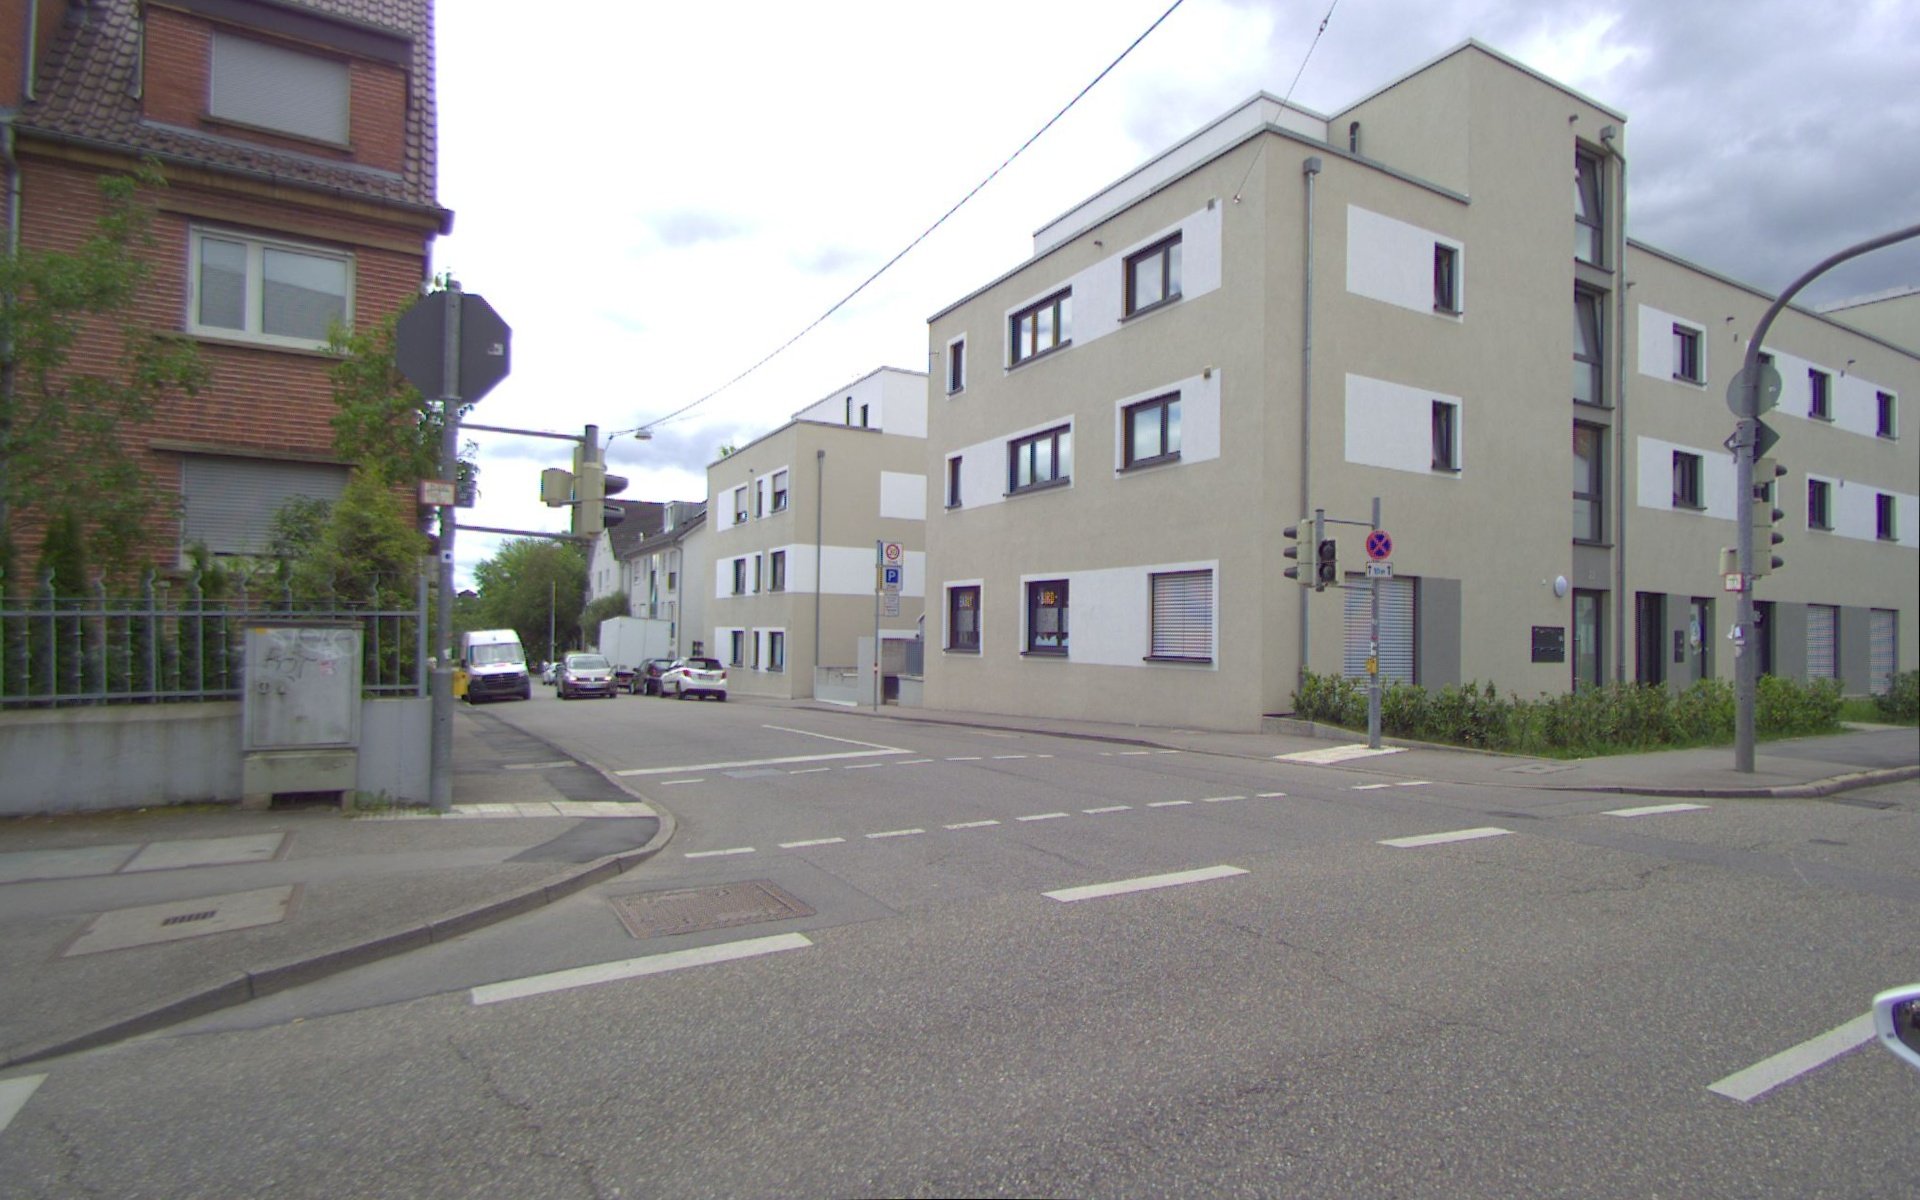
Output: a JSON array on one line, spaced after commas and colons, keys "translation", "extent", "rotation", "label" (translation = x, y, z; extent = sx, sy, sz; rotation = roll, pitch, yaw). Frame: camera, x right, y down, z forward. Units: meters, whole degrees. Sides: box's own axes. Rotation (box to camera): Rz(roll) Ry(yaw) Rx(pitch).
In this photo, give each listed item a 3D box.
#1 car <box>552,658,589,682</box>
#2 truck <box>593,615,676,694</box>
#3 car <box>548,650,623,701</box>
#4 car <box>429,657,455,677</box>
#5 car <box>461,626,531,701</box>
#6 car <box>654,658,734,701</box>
[{"translation": [-23.424, 4.215, 60.273], "extent": [1.577, 1.382, 3.972], "rotation": [2, -4, -28], "label": "car"}, {"translation": [-14.671, 2.467, 45.024], "extent": [2.420, 3.274, 6.170], "rotation": [2, -4, -29], "label": "truck"}, {"translation": [-13.207, 2.640, 35.290], "extent": [1.874, 1.605, 3.971], "rotation": [-1, -3, -29], "label": "car"}, {"translation": [-46.374, 5.994, 89.954], "extent": [1.976, 1.528, 3.970], "rotation": [2, -1, -29], "label": "car"}, {"translation": [-17.214, 2.356, 37.104], "extent": [2.015, 2.542, 5.950], "rotation": [1, -4, -28], "label": "car"}, {"translation": [-9.530, 2.800, 35.762], "extent": [1.729, 1.440, 3.968], "rotation": [2, -4, -31], "label": "car"}]
